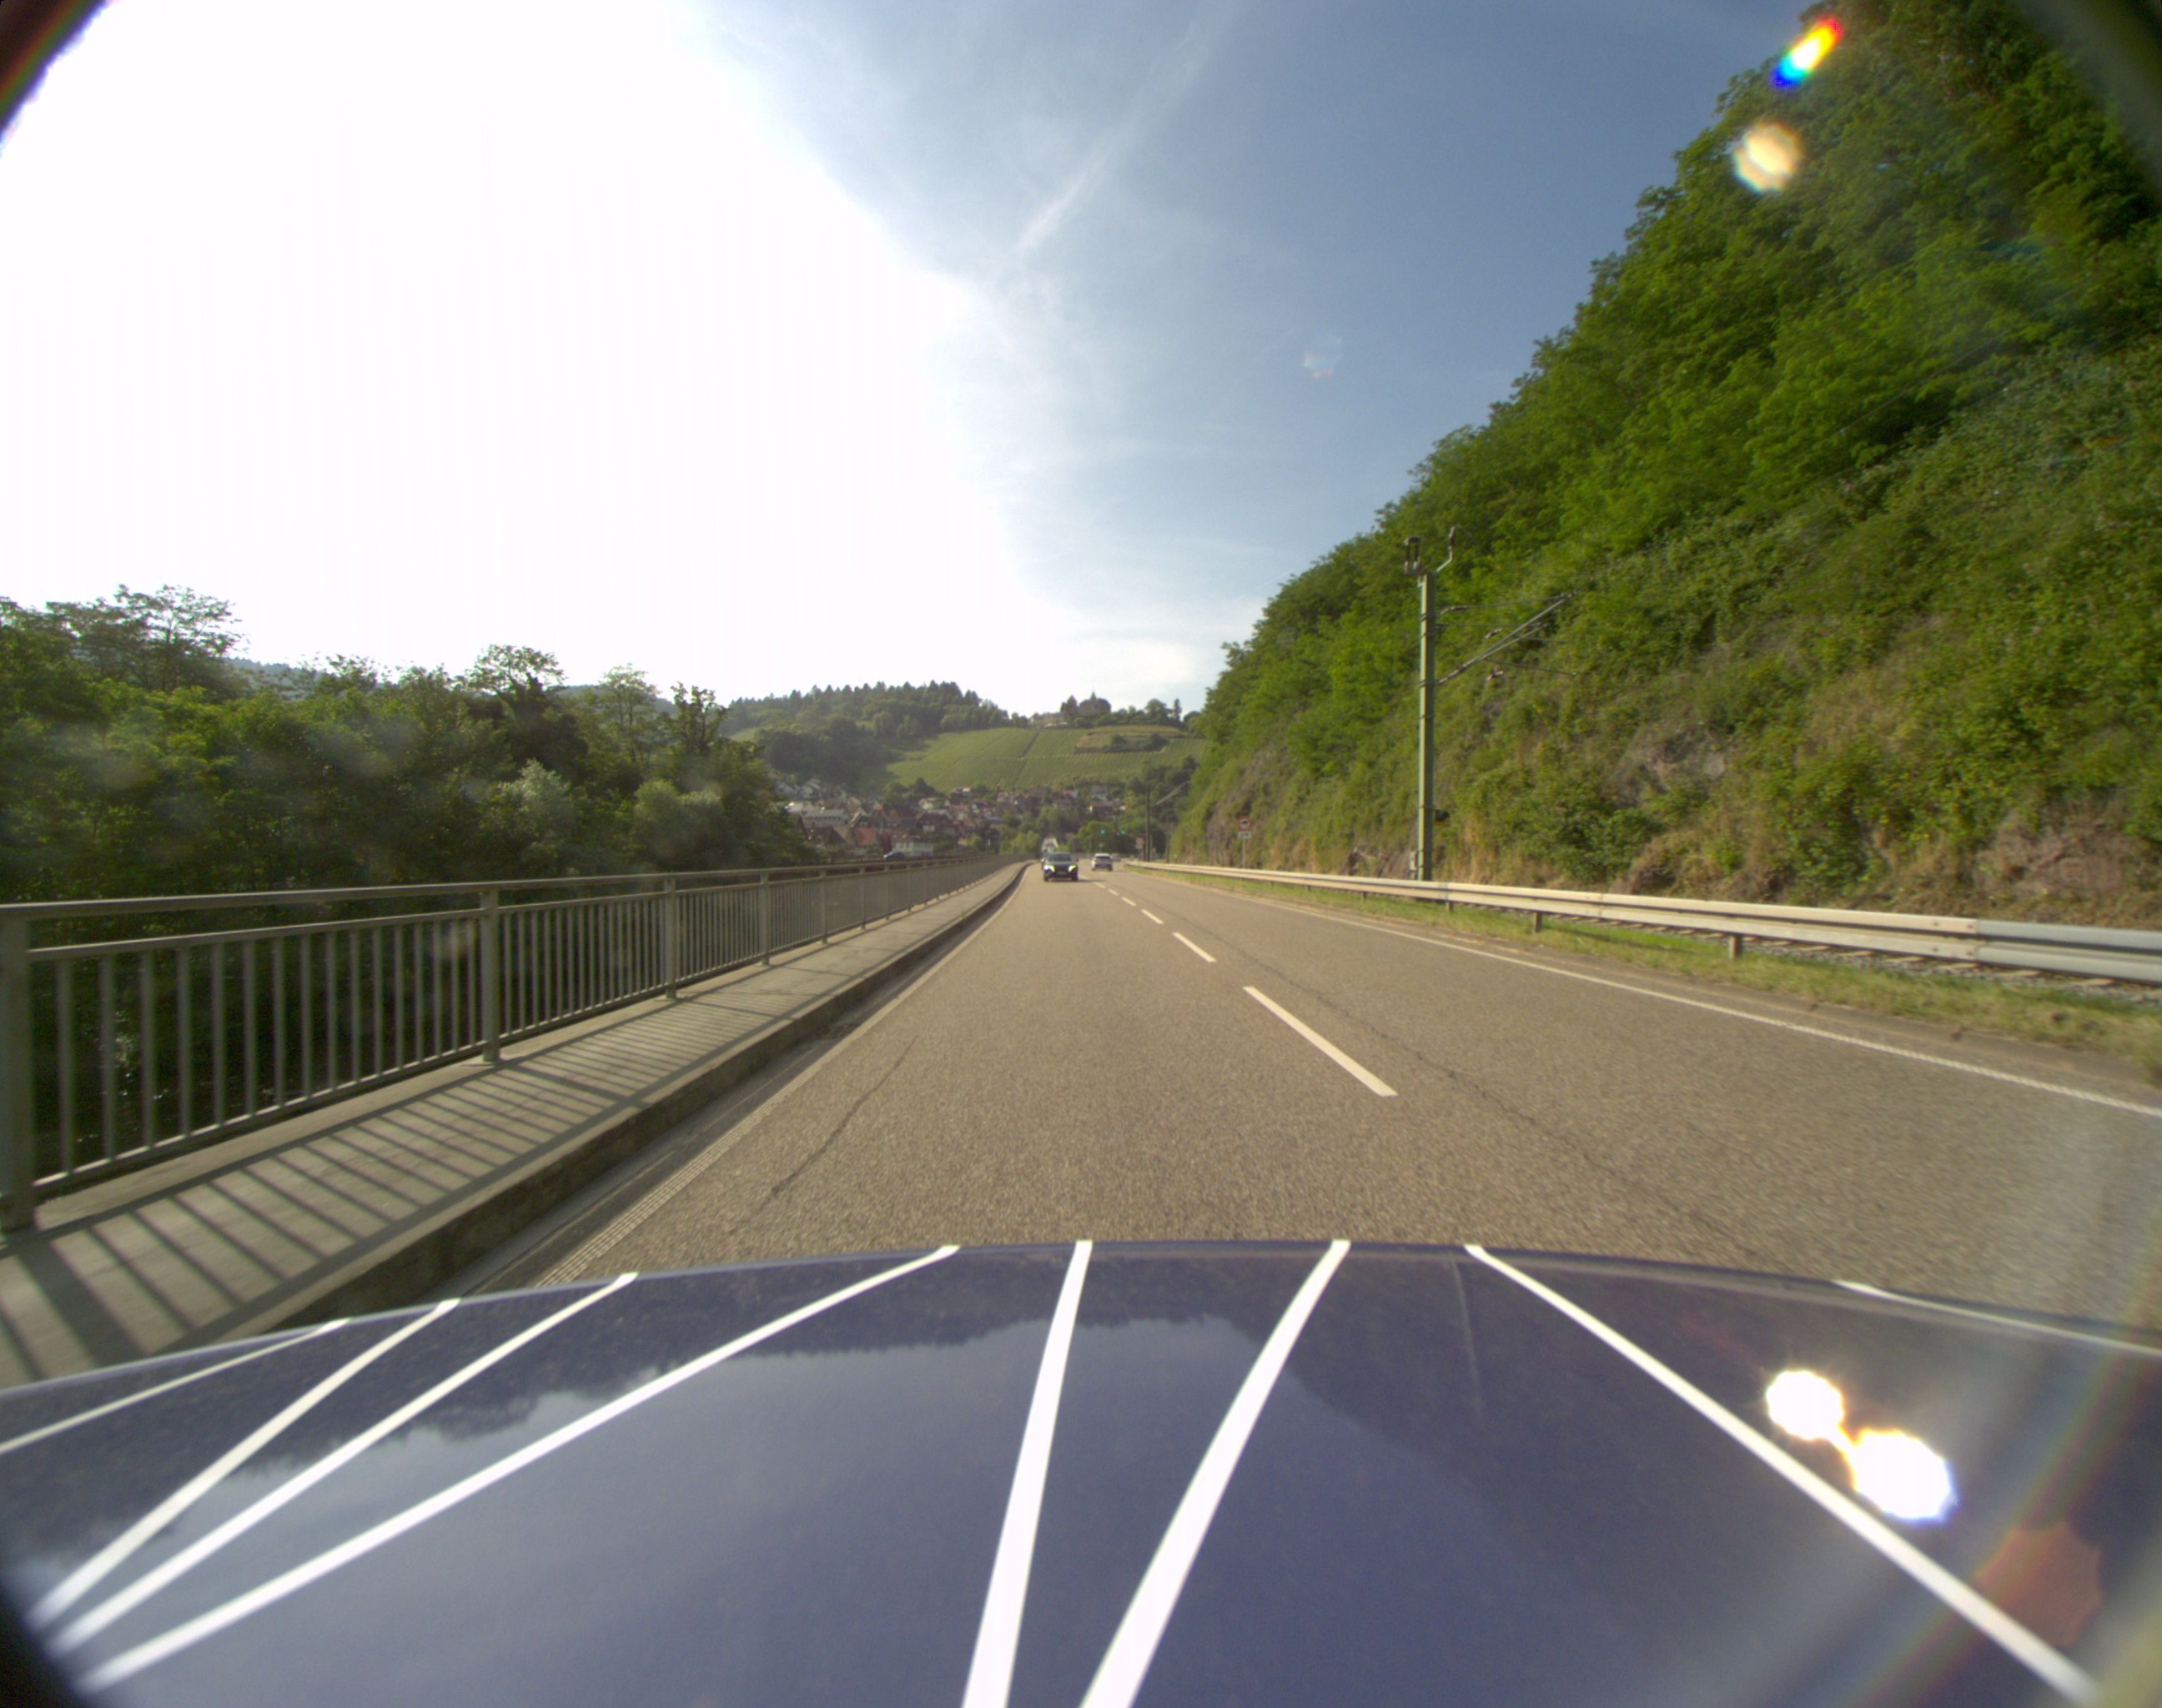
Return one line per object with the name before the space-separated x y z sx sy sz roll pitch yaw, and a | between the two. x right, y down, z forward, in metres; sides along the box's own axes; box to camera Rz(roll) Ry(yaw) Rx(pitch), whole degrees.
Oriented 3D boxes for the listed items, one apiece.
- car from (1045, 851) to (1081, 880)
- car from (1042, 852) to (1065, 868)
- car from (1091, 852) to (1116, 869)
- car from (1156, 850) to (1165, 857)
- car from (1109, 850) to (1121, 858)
car | -1.083 0.617 43.366 1.864 1.576 3.998 1 0 -4
car | -2.563 0.555 71.443 1.999 1.384 3.999 2 0 -2
car | 2.003 0.568 68.918 1.852 1.535 4.602 0 0 -3
car | 21.160 -0.151 202.866 1.721 1.561 4.139 -1 1 14
car | 6.747 0.038 151.529 2.068 1.431 4.686 1 0 1
